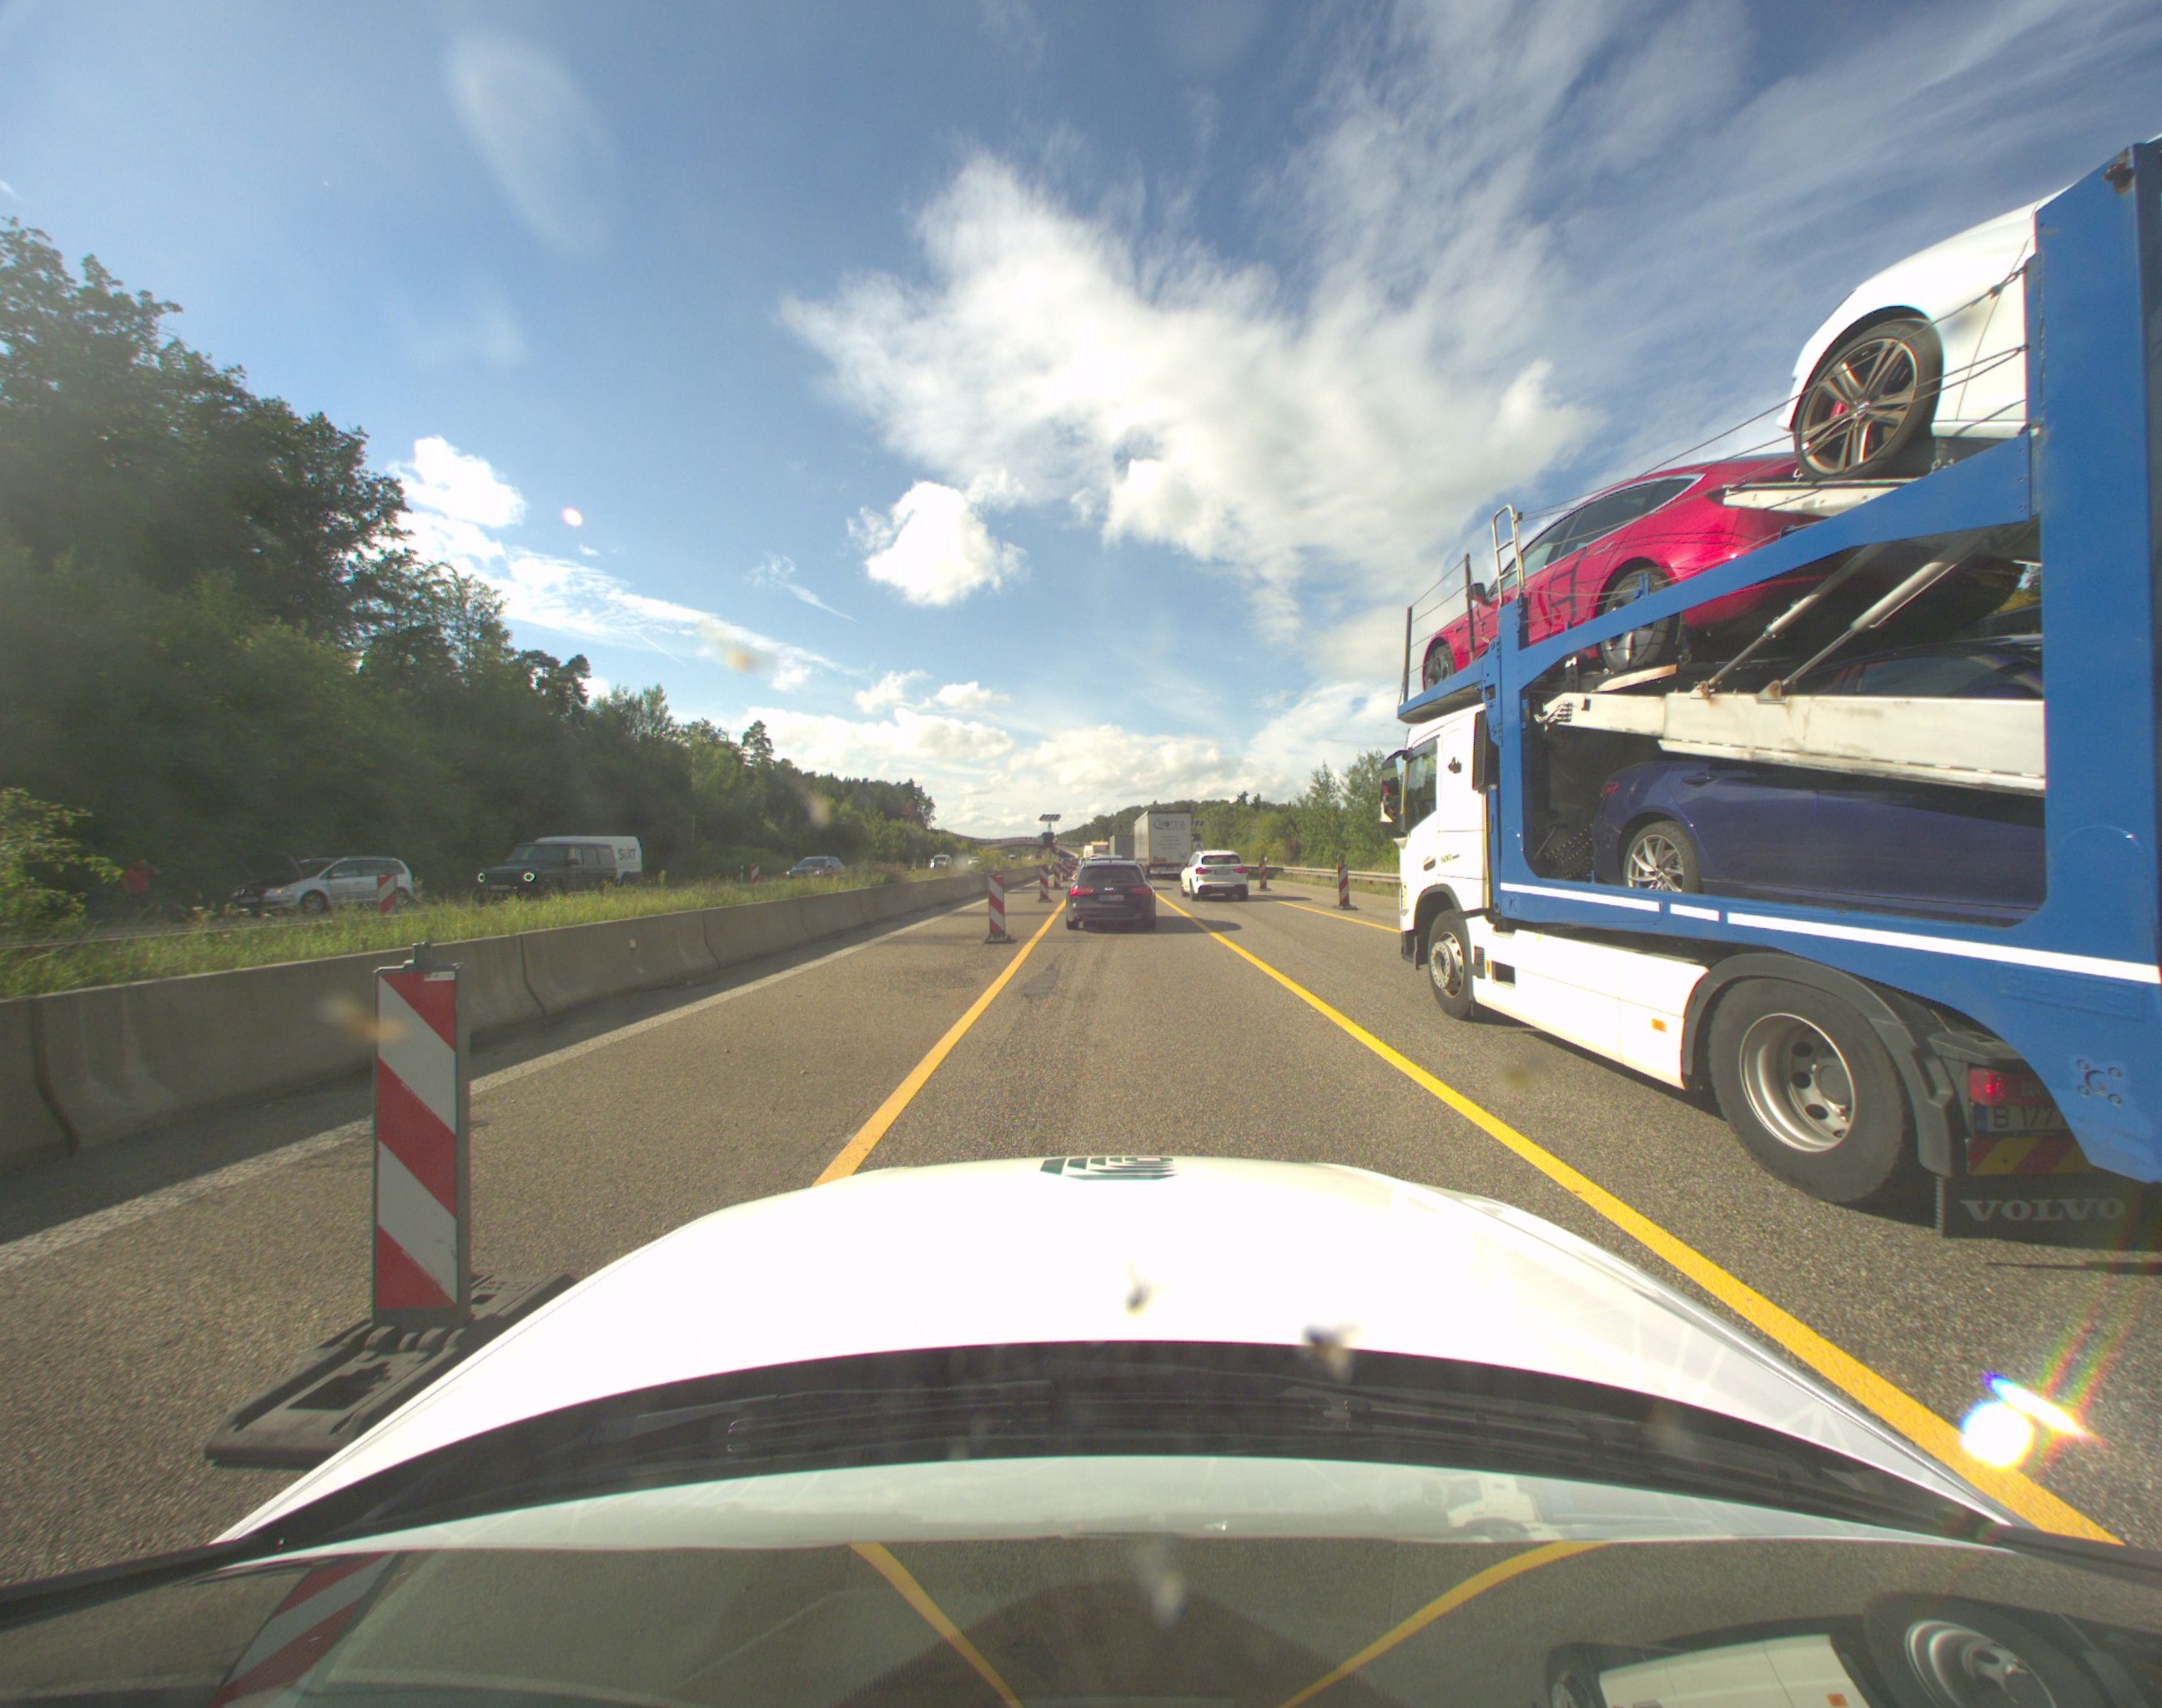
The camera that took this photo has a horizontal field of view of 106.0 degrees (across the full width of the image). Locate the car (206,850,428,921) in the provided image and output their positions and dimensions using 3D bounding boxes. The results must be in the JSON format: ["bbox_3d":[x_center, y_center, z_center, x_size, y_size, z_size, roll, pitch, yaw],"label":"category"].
[{"bbox_3d":[-21.907,0.845,23.708,1.853,1.853,4.763,0,-1,2],"label":"car"}]

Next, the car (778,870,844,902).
[{"bbox_3d":[-13.220,1.539,40.140,1.771,1.456,4.106,0,-1,2],"label":"car"}]

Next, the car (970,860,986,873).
[{"bbox_3d":[-15.263,1.861,120.755,1.771,1.786,4.366,0,-1,2],"label":"car"}]

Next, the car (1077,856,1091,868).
[{"bbox_3d":[0.531,1.438,144.971,1.991,2.014,3.992,0,-1,-6],"label":"car"}]

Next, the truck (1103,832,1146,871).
[{"bbox_3d":[5.244,-0.262,101.236,4.309,4.600,11.113,0,-1,-3],"label":"truck"}]

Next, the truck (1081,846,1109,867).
[{"bbox_3d":[2.614,0.484,159.180,3.652,3.928,11.034,0,-1,-8],"label":"truck"}]

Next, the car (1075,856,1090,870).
[{"bbox_3d":[0.206,1.284,116.362,1.989,2.014,3.995,0,-1,-4],"label":"car"}]

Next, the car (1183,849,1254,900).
[{"bbox_3d":[4.649,0.674,28.066,1.883,1.643,4.019,0,-1,2],"label":"car"}]

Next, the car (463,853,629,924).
[{"bbox_3d":[-15.669,0.954,24.223,1.771,1.902,4.619,0,-1,2],"label":"car"}]

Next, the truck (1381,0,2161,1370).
[{"bbox_3d":[4.869,-0.678,4.333,3.748,4.196,7.952,0,-1,1],"label":"truck"}]

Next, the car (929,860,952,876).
[{"bbox_3d":[-15.988,1.624,92.875,1.771,1.786,4.366,0,-1,2],"label":"car"}]

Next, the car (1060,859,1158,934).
[{"bbox_3d":[0.604,0.844,17.852,1.883,1.446,4.001,0,-1,2],"label":"car"}]

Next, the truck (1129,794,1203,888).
[{"bbox_3d":[5.376,-0.665,54.847,3.664,5.353,16.205,0,-1,1],"label":"truck"}]

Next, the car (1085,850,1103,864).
[{"bbox_3d":[1.508,0.331,96.666,1.885,1.643,4.015,0,-1,-2],"label":"car"}]

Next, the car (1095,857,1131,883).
[{"bbox_3d":[1.834,0.906,47.353,1.885,1.446,3.998,0,-1,-1],"label":"car"}]

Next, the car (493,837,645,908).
[{"bbox_3d":[-21.015,0.720,33.914,2.020,2.684,6.525,0,-1,2],"label":"car"}]
